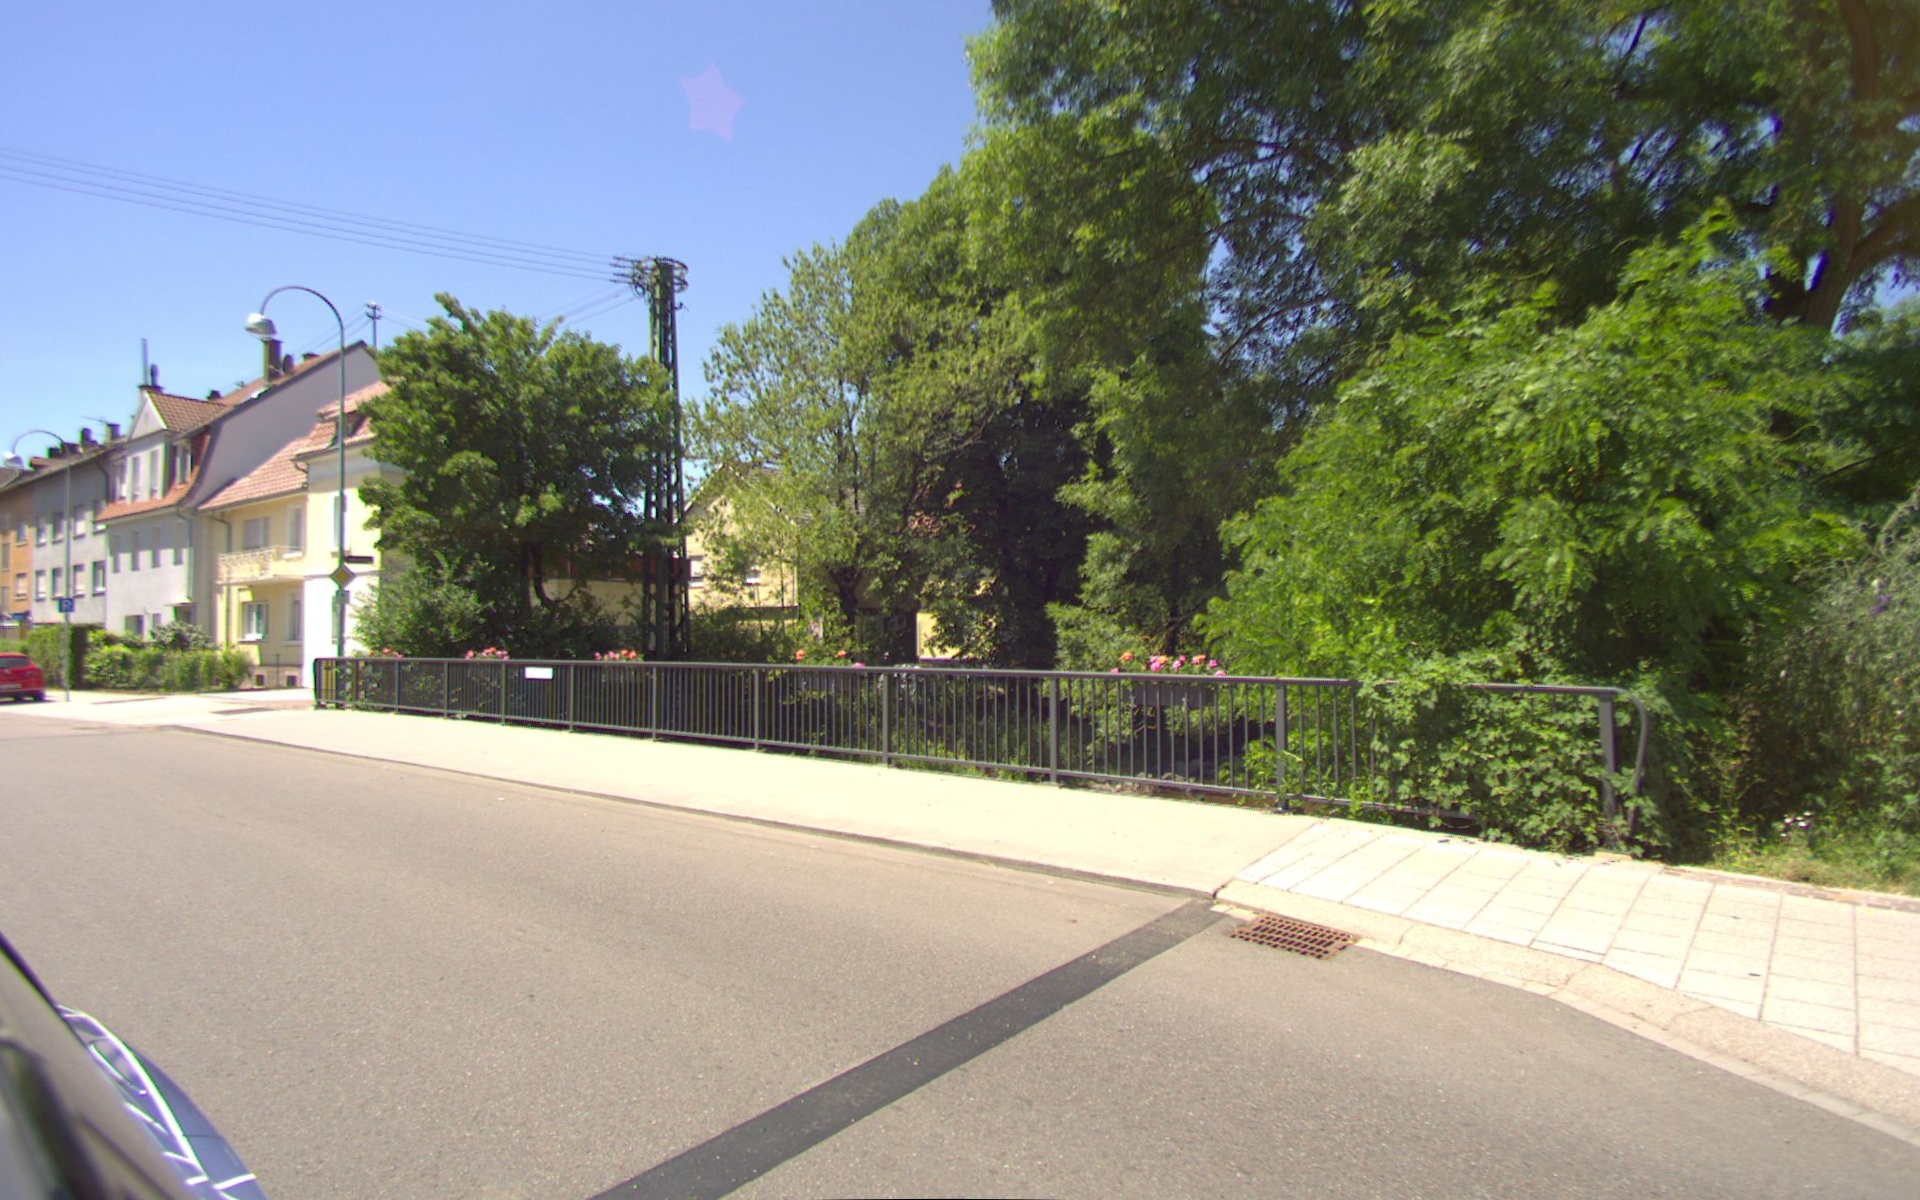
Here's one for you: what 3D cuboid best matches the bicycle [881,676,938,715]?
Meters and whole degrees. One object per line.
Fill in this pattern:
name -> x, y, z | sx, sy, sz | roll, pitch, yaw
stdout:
bicycle -> -1.650, 3.110, 33.184 | 1.860, 1.251, 0.561 | 4, -5, -39

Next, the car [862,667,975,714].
car -> -1.400, 3.131, 35.658 | 1.996, 1.488, 3.951 | -1, -4, 36

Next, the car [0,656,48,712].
car -> -28.734, 2.493, 29.845 | 4.730, 1.491, 1.860 | -3, -1, 37

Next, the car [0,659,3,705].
car -> -33.380, 2.764, 33.335 | 5.297, 1.473, 1.846 | -4, -2, 37
